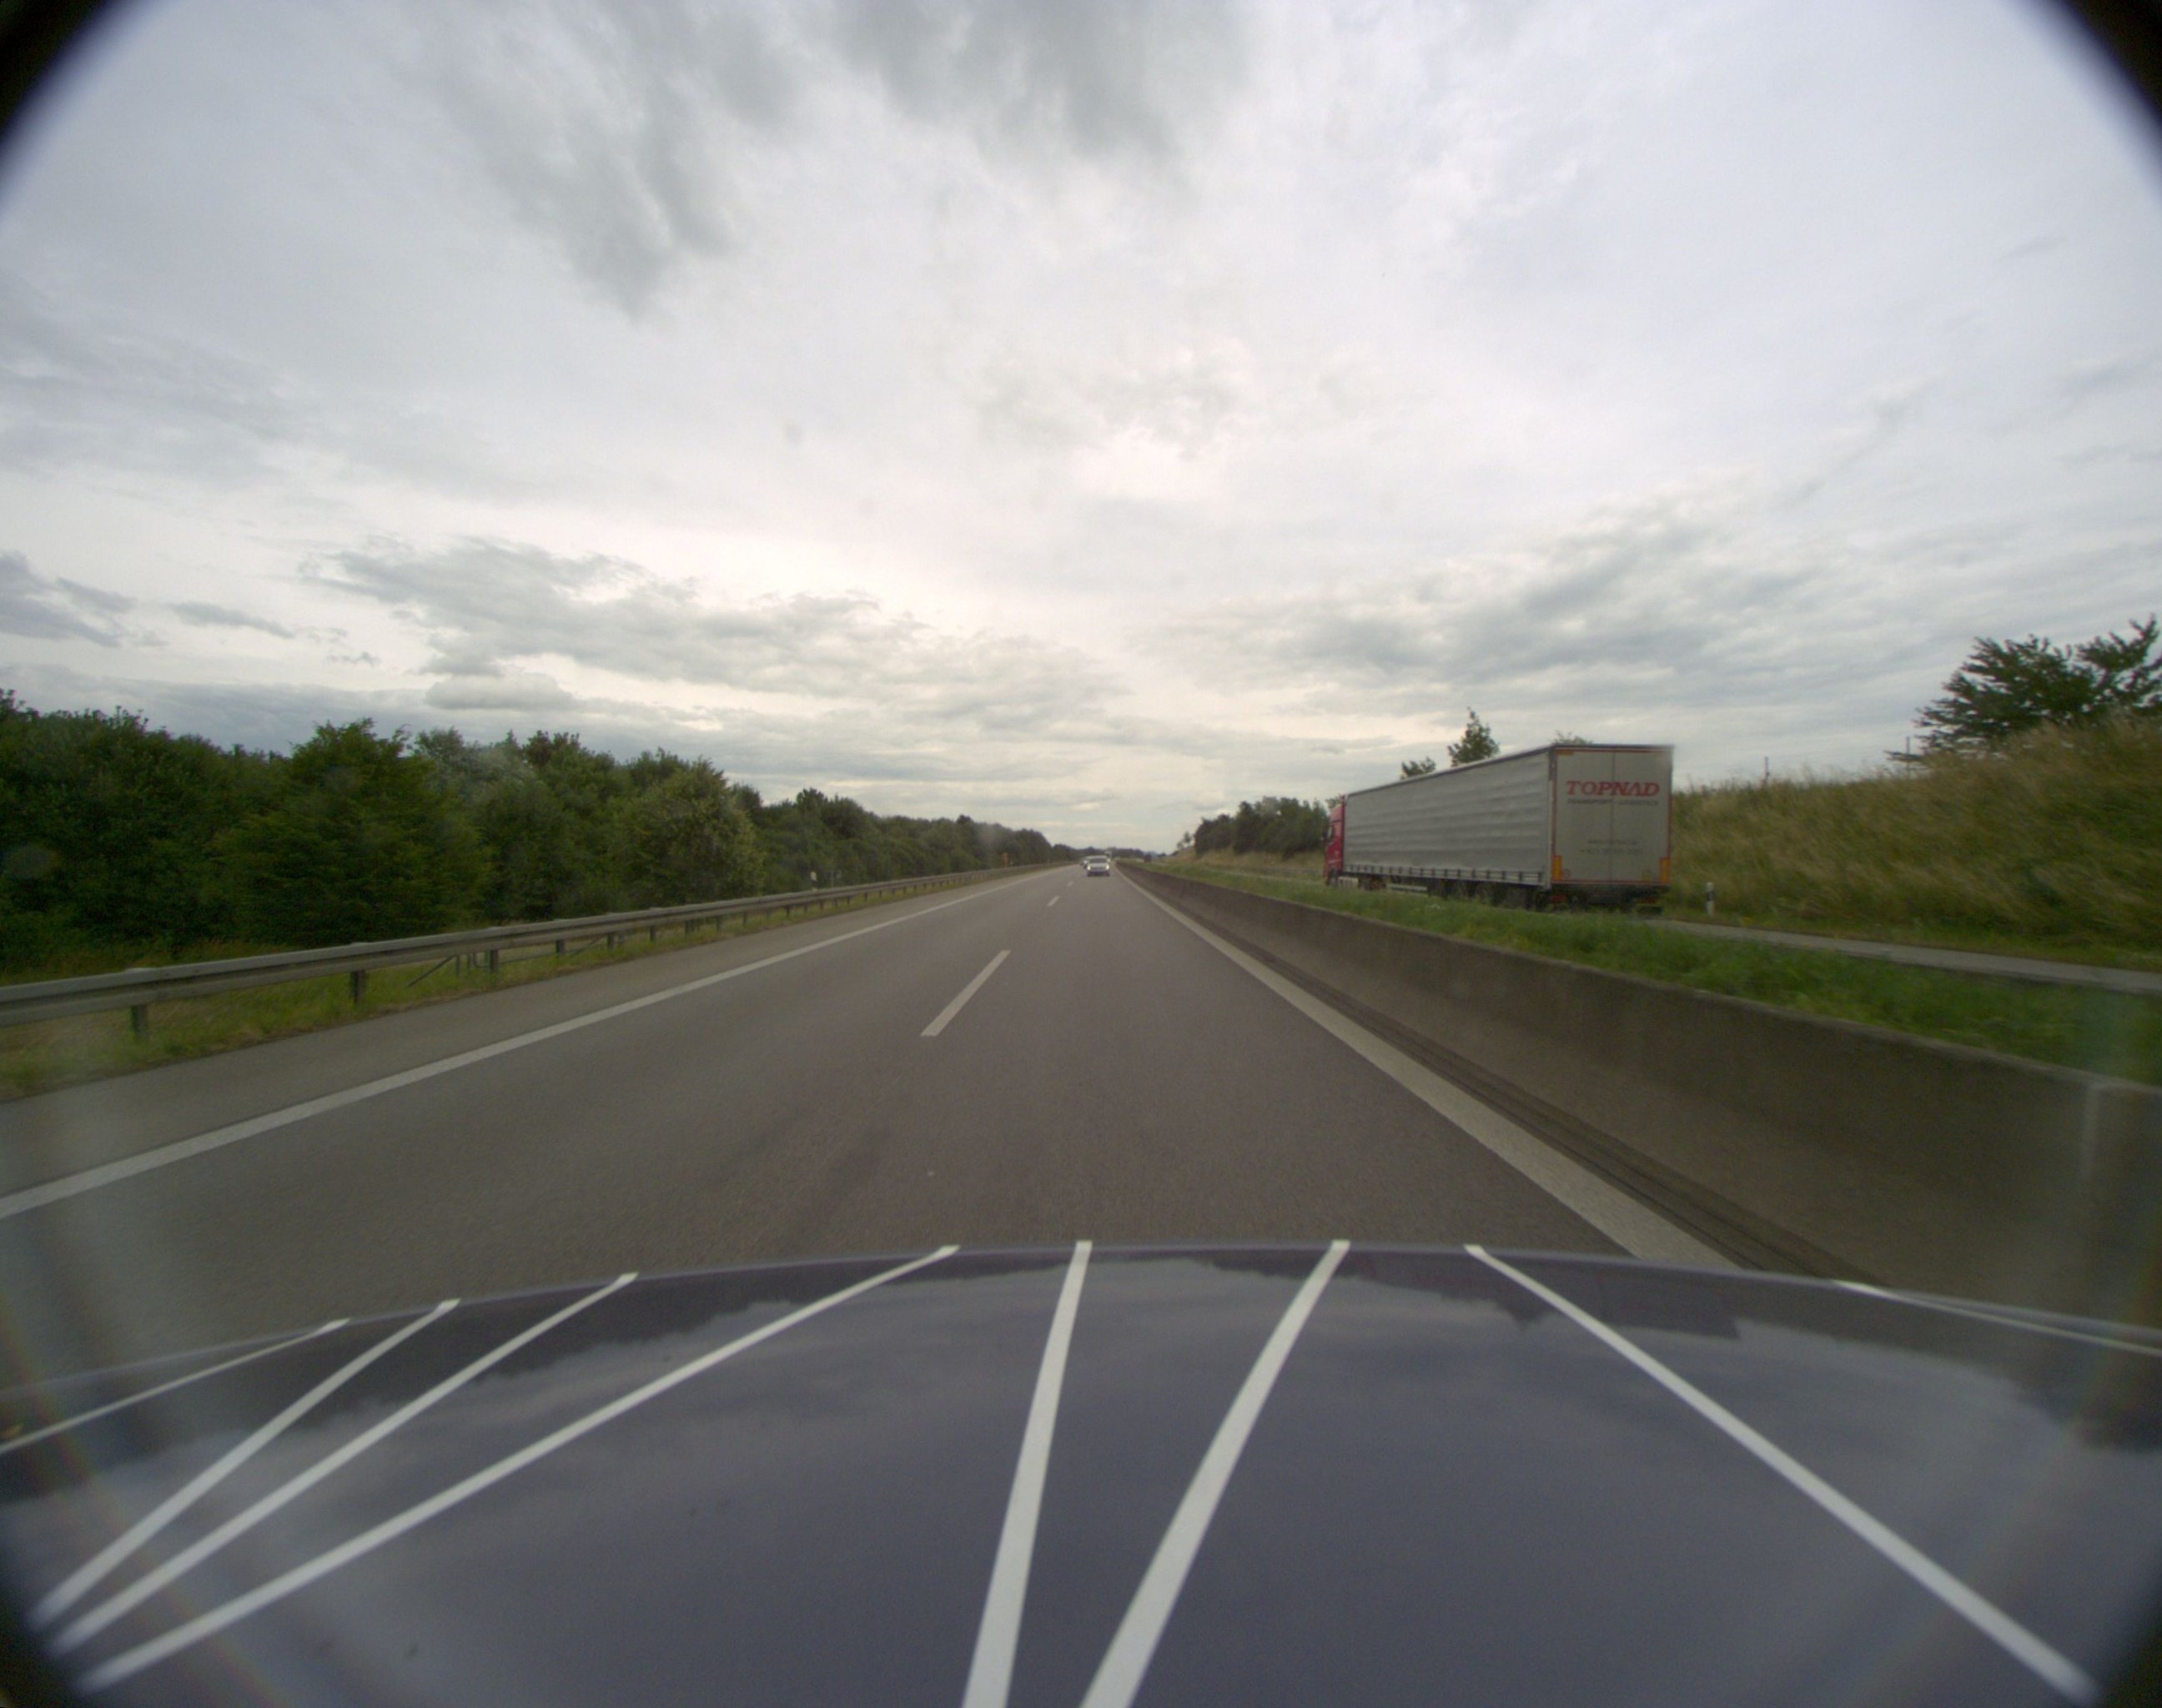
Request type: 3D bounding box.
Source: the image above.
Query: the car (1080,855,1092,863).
[{"bbox_3d":[1.025,1.093,154.307,1.915,1.553,4.290,-1,0,5],"label":"car"}]

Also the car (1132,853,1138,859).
[{"bbox_3d":[18.541,0.614,260.699,1.984,2.002,5.130,-1,0,2],"label":"car"}]

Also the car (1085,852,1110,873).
[{"bbox_3d":[1.290,0.669,61.697,1.916,1.553,4.288,-1,0,0],"label":"car"}]

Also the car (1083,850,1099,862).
[{"bbox_3d":[1.372,0.232,102.599,1.915,1.553,4.290,-1,0,5],"label":"car"}]

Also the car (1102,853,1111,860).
[{"bbox_3d":[5.947,0.641,176.281,1.915,1.553,4.290,-1,0,5],"label":"car"}]

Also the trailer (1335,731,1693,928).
[{"bbox_3d":[11.484,-0.481,23.178,2.713,4.064,14.597,1,0,1],"label":"trailer"}]

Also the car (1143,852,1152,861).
[{"bbox_3d":[19.123,0.824,217.353,2.175,2.450,6.723,1,0,2],"label":"car"}]

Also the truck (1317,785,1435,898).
[{"bbox_3d":[11.593,-0.449,30.379,2.713,4.064,5.165,1,0,1],"label":"truck"}]
